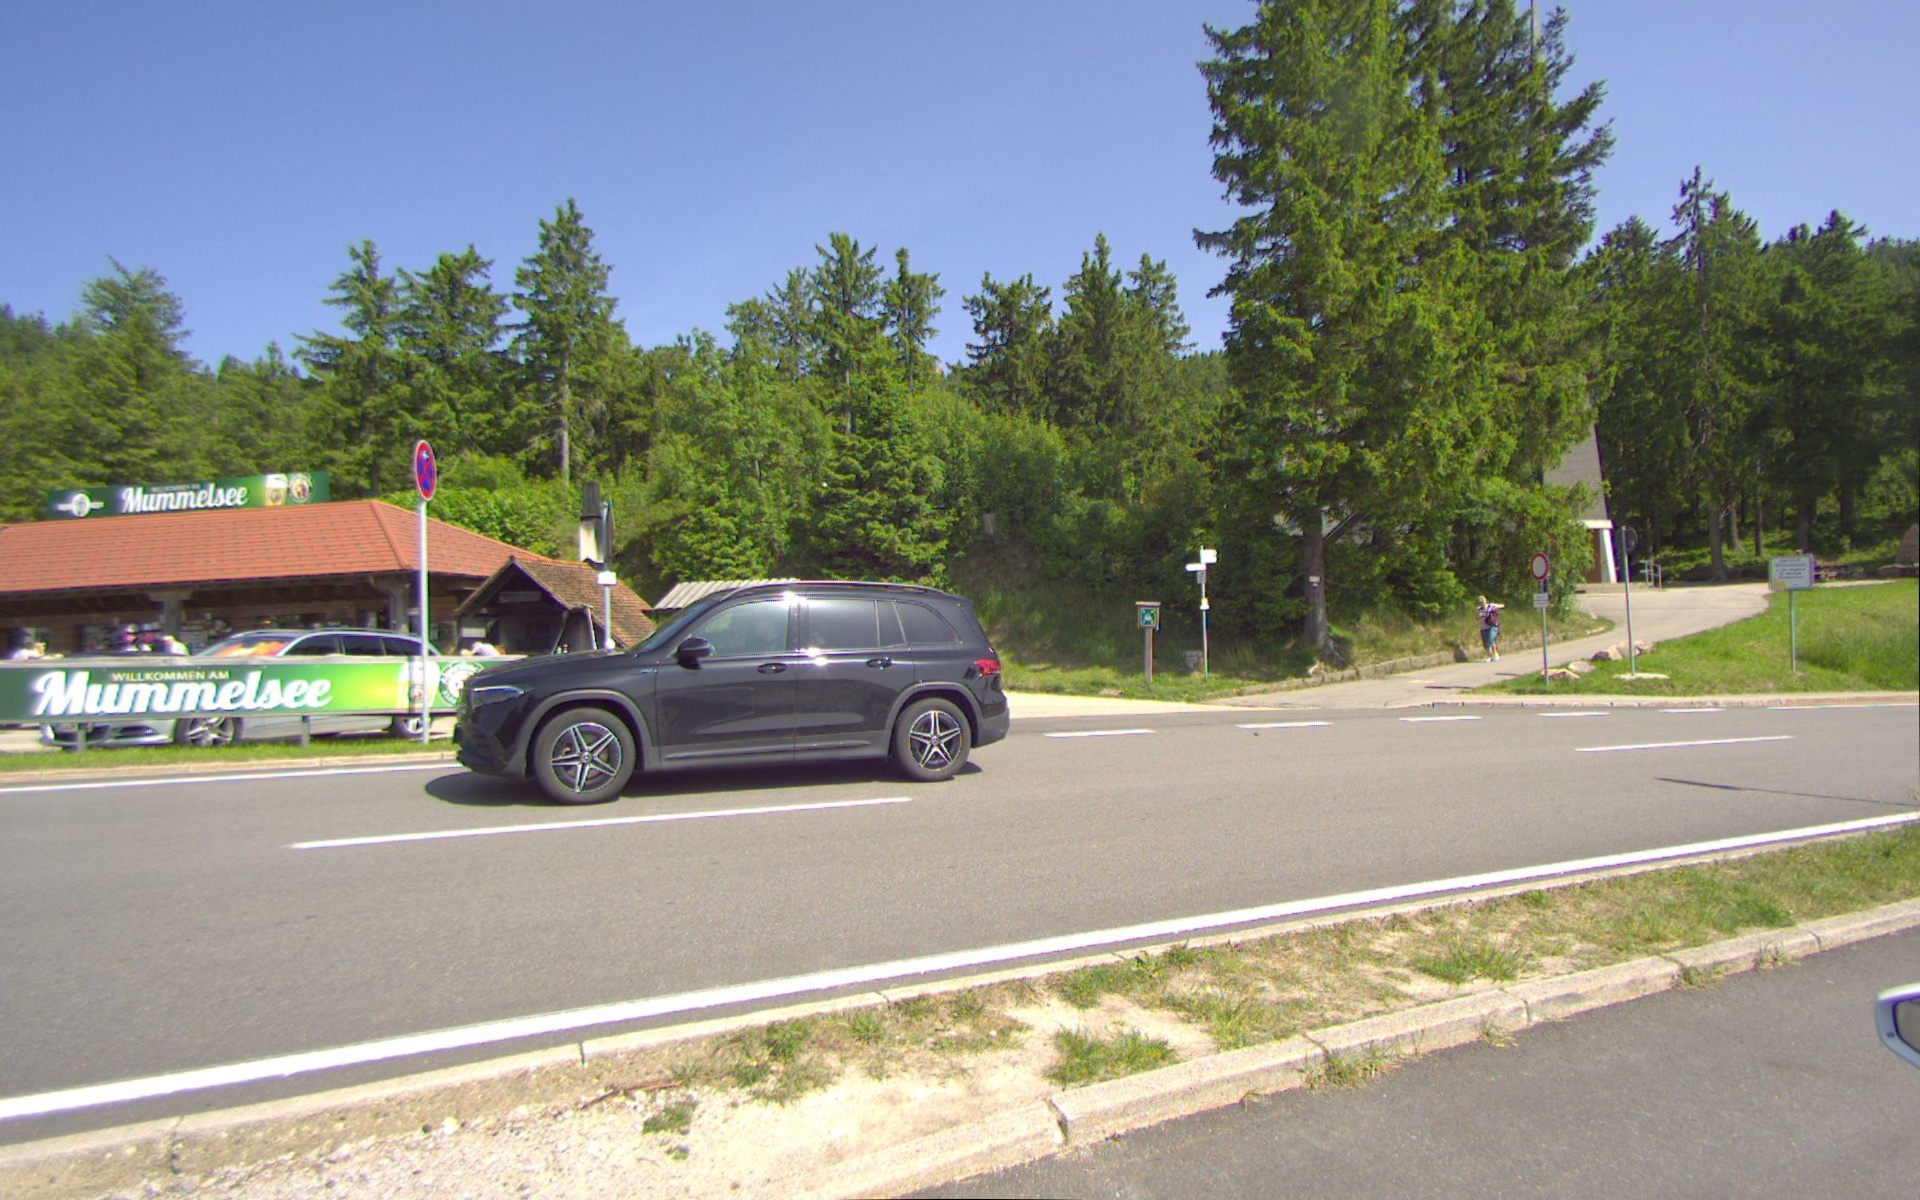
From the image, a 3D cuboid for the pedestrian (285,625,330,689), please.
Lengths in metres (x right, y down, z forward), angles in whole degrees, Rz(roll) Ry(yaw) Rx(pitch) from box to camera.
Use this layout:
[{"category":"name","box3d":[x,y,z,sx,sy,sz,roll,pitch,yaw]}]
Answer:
[{"category":"pedestrian","box3d":[-18.366,1.602,28.273,0.788,1.760,0.749,-1,-2,25]}]

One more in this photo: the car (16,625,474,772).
[{"category":"car","box3d":[-8.316,1.089,12.315,1.687,1.449,4.505,-1,-3,15]}]

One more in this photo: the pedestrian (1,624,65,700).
[{"category":"pedestrian","box3d":[-25.246,1.672,27.360,0.945,2.040,0.857,0,-2,10]}]

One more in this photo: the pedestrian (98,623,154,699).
[{"category":"pedestrian","box3d":[-22.697,1.646,27.344,0.908,2.040,0.724,0,-2,9]}]

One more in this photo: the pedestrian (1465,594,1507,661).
[{"category":"pedestrian","box3d":[13.727,0.725,26.235,0.675,1.703,0.715,1,-2,-34]}]

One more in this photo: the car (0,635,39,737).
[{"category":"car","box3d":[-18.528,1.502,17.413,4.013,1.738,1.922,-1,-3,16]}]

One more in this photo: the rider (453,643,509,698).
[{"category":"rider","box3d":[-11.591,1.696,24.335,0.892,1.291,0.839,-1,-2,25]}]

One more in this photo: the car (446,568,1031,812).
[{"category":"car","box3d":[-1.838,0.679,8.703,4.503,1.669,1.989,1,-2,-24]}]

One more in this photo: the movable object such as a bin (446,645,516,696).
[{"category":"movable object such as a bin","box3d":[-11.643,1.703,24.434,1.194,1.204,0.983,-1,-2,25]}]
